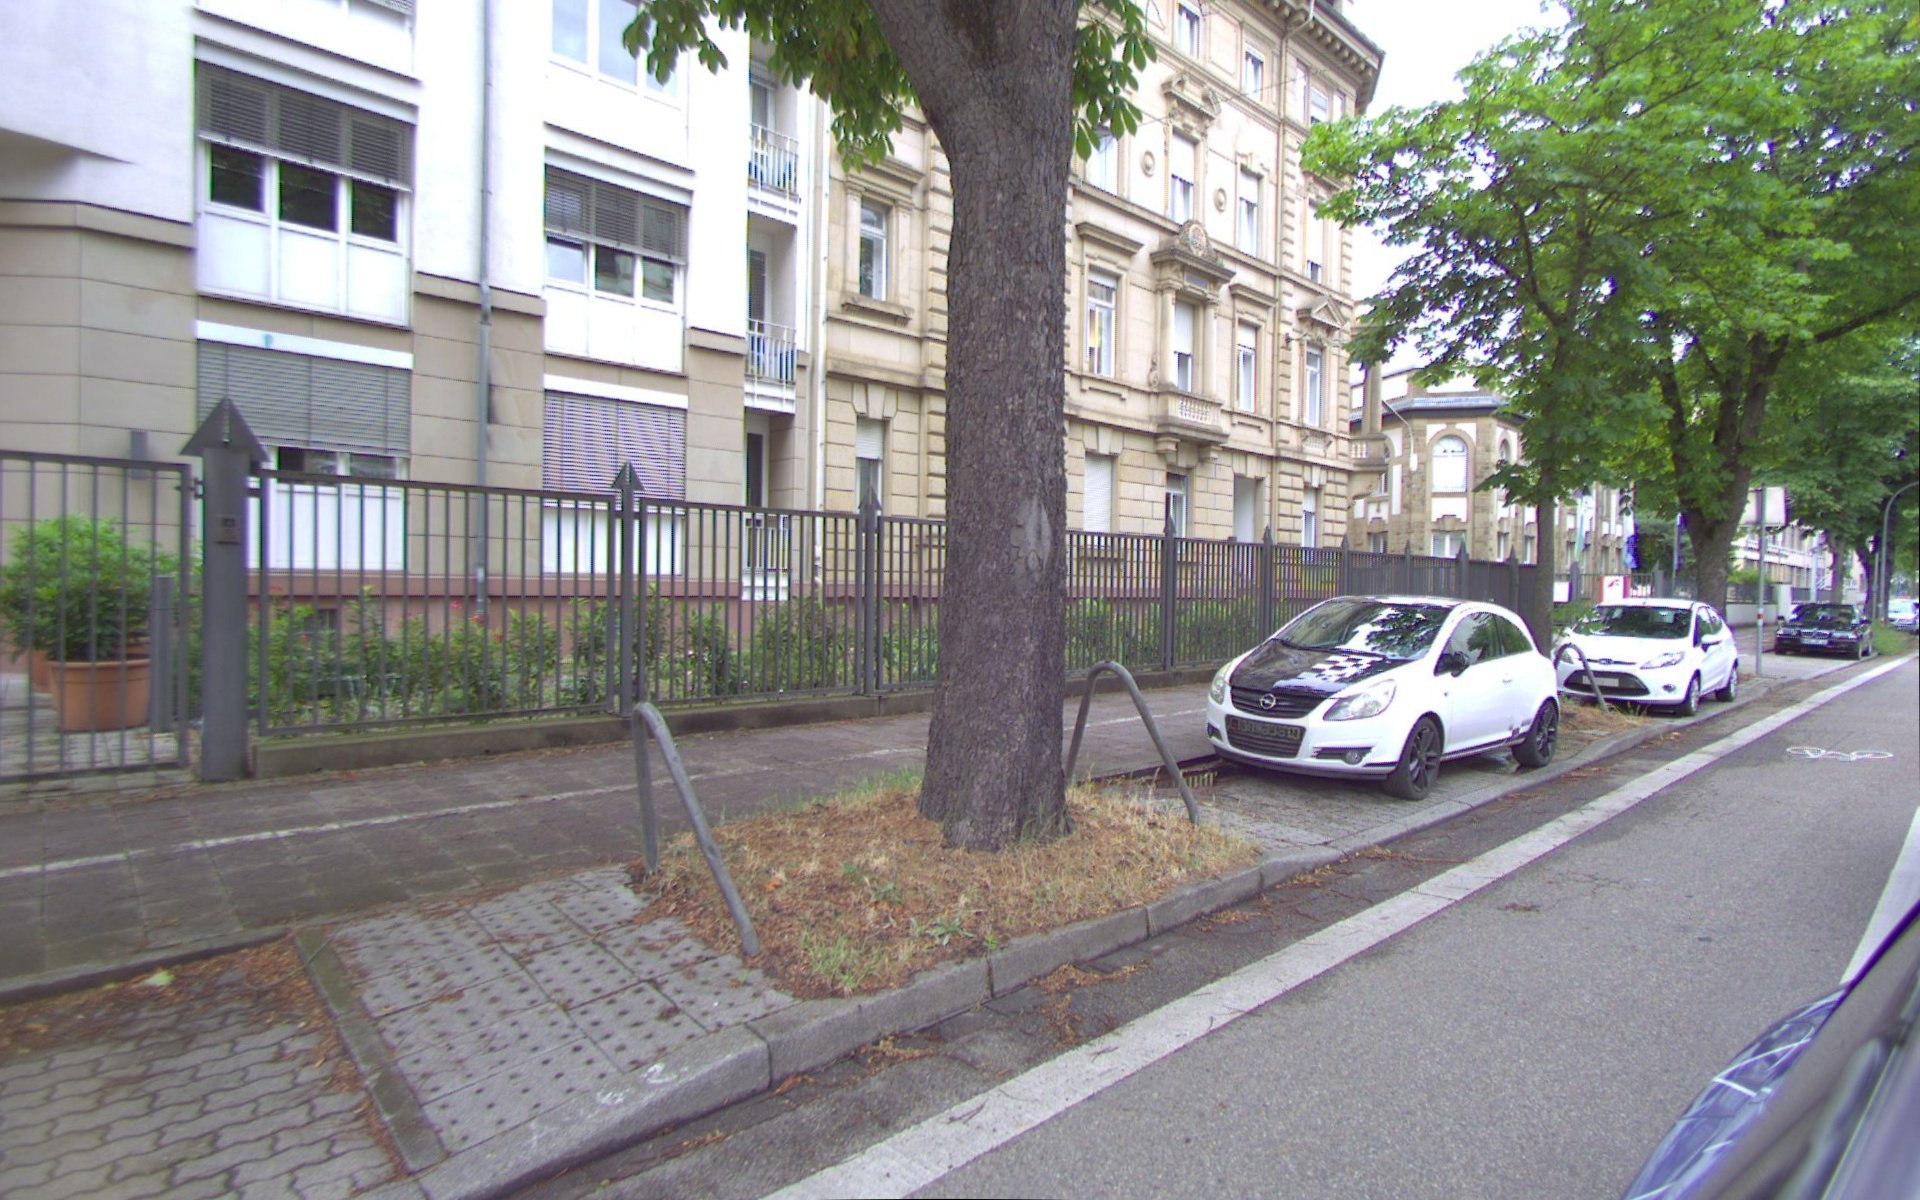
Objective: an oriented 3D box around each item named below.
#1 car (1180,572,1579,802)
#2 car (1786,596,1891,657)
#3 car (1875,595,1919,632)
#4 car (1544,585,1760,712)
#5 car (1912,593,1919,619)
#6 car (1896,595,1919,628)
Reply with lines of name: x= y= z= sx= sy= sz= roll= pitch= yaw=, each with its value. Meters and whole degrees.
car: x=3.645 y=0.556 z=8.510 sx=3.711 sy=1.453 sz=1.605 roll=0 pitch=3 yaw=-42
car: x=23.038 y=0.636 z=26.505 sx=3.772 sy=1.387 sz=1.605 roll=0 pitch=3 yaw=-43
car: x=39.051 y=0.524 z=41.707 sx=3.772 sy=1.387 sz=1.605 roll=0 pitch=3 yaw=-43
car: x=9.693 y=0.576 z=14.077 sx=3.700 sy=1.453 sz=1.630 roll=0 pitch=3 yaw=-43
car: x=53.154 y=0.349 z=55.092 sx=3.772 sy=1.387 sz=1.605 roll=0 pitch=3 yaw=-43
car: x=44.398 y=0.515 z=46.555 sx=3.772 sy=1.442 sz=1.605 roll=0 pitch=3 yaw=-43
